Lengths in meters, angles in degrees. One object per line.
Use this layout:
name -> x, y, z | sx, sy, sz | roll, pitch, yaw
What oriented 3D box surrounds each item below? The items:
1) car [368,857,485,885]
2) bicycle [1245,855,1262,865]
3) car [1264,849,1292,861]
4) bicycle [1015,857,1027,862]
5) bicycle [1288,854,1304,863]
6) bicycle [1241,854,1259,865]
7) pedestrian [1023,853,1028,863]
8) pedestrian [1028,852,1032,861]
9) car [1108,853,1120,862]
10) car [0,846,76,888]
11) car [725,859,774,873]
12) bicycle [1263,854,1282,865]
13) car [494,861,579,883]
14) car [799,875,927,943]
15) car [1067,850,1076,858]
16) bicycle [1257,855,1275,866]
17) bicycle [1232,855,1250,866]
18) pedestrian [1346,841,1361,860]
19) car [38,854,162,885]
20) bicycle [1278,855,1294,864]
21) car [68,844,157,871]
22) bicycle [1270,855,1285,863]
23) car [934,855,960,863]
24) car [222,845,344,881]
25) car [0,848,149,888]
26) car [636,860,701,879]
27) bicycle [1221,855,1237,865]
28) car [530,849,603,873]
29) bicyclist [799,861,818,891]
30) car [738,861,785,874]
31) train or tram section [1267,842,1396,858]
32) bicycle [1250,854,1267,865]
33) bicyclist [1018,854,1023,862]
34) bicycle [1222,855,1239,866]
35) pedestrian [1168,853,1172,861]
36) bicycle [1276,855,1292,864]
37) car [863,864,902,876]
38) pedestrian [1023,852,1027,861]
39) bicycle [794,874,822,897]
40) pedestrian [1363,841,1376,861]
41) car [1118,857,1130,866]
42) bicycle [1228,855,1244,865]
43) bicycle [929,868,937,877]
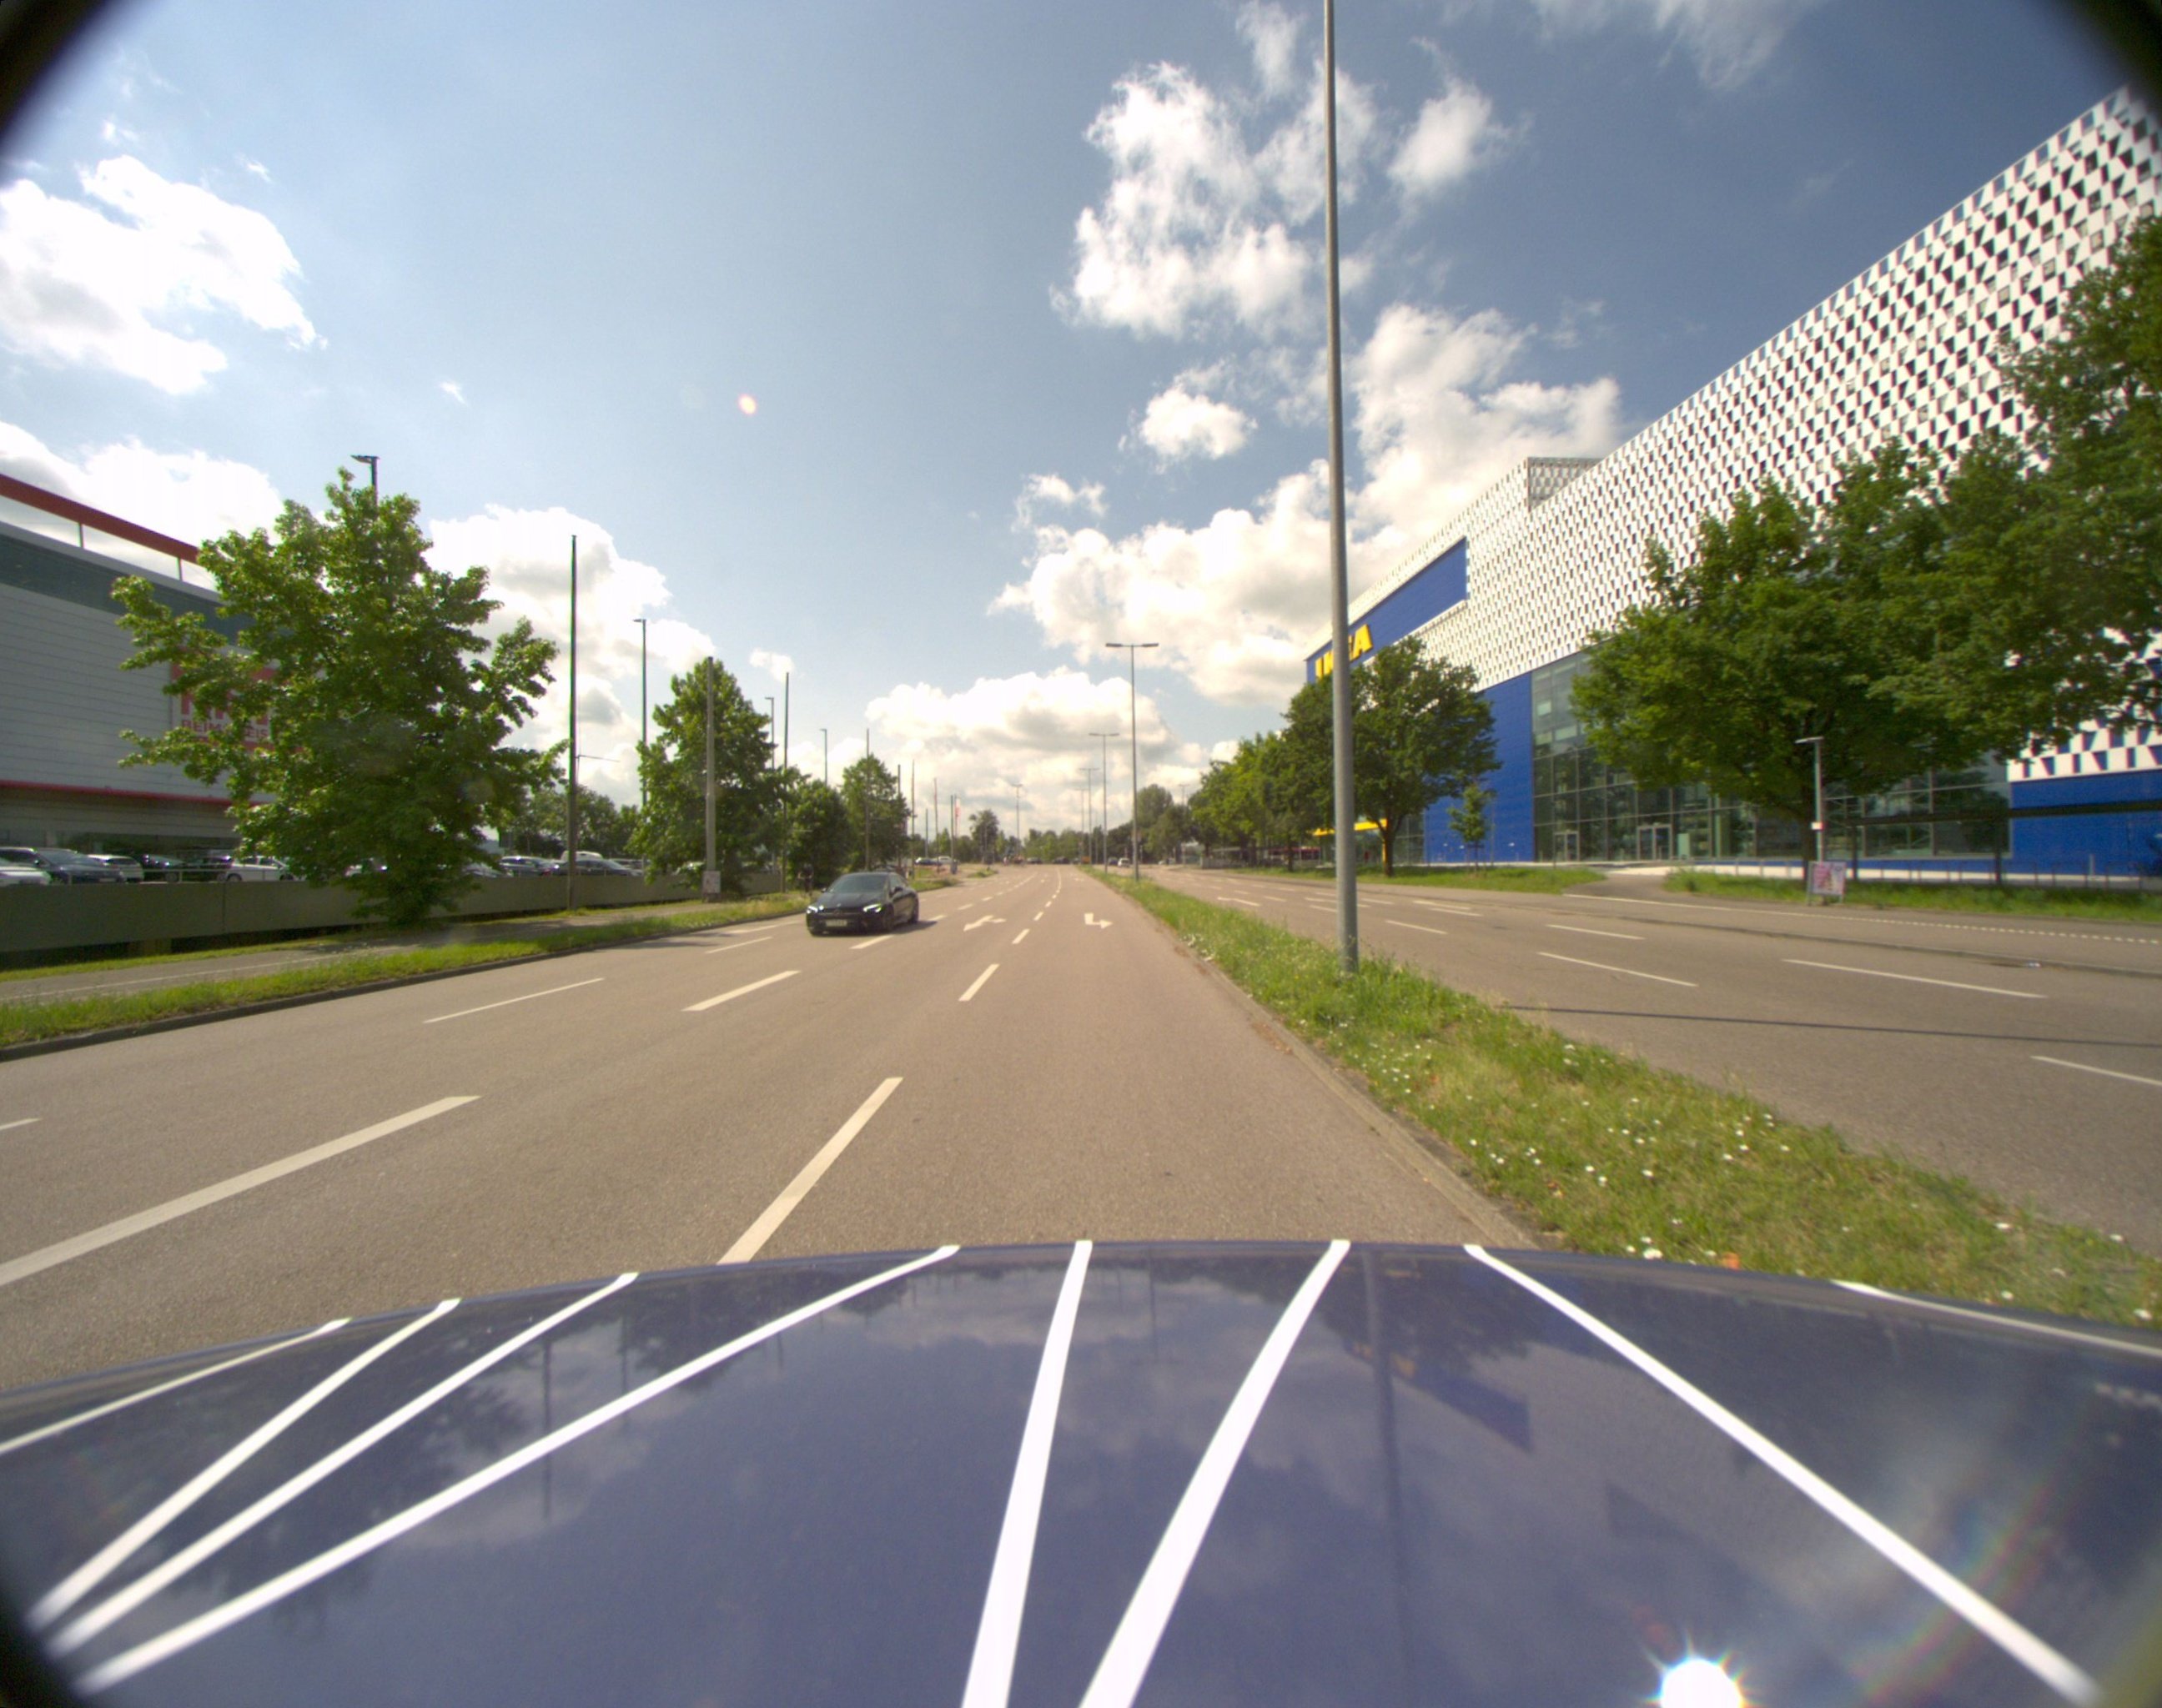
car -> -33.306, 0.874, 38.762 | 4.196, 1.381, 1.892 | 0, -1, -4
bicycle -> 21.483, 0.748, 94.620 | 1.930, 1.265, 0.629 | -1, 0, -2
car -> 37.481, 0.225, 144.477 | 4.821, 2.001, 1.999 | -1, -1, -5
bicycle -> -10.567, 0.987, 133.500 | 1.990, 0.955, 0.596 | -1, -1, -26
bicycle -> 27.701, 0.555, 97.999 | 1.940, 1.202, 0.528 | -1, 1, -6
bicycle -> 19.447, 0.664, 87.281 | 1.930, 1.176, 0.629 | -1, 0, -2
pedestrian -> -9.519, 0.714, 129.855 | 0.688, 1.718, 0.701 | 0, 2, 10
pedestrian -> -8.870, 0.506, 132.278 | 0.556, 1.515, 0.470 | -2, 0, 7
car -> 5.820, 0.603, 134.660 | 1.668, 1.413, 4.517 | 1, 0, -2
car -> -38.477, 0.434, 26.584 | 4.195, 1.425, 1.726 | 0, -1, -2
car -> -35.030, 1.296, 80.280 | 4.369, 1.354, 1.847 | -1, 0, 0
bicycle -> 21.715, 0.674, 86.317 | 1.930, 1.177, 0.629 | -1, 0, -2
car -> -34.738, 1.142, 48.555 | 4.195, 1.317, 1.688 | 0, 0, -2
car -> -5.154, 1.248, 18.596 | 1.797, 1.311, 4.163 | -2, 0, 1
car -> -1.798, 0.011, 148.596 | 1.608, 1.484, 4.131 | 1, 0, -2
bicycle -> 21.508, 0.725, 88.325 | 1.930, 1.172, 0.629 | -1, 0, -2
bicycle -> 19.410, 0.747, 92.163 | 1.930, 1.265, 0.629 | -1, 0, -2
pedestrian -> 24.835, -0.301, 69.245 | 0.952, 1.692, 0.887 | -2, 0, -2
car -> -49.240, 0.790, 38.180 | 3.998, 1.411, 1.629 | -1, -1, -2
bicycle -> 26.915, 0.735, 99.640 | 1.940, 1.064, 0.528 | -1, 1, -6
car -> -63.896, 0.242, 50.163 | 3.593, 1.642, 1.621 | -1, -1, -3
bicycle -> 26.695, 0.723, 103.393 | 1.940, 1.064, 0.528 | -1, 1, -6
car -> -24.189, 0.816, 137.095 | 4.497, 1.404, 2.012 | 0, 0, -8
car -> -40.558, 0.454, 38.693 | 3.997, 1.710, 2.000 | -1, -1, -1
car -> -39.180, 0.548, 29.219 | 4.195, 1.425, 1.893 | -2, -1, -2
car -> -33.207, 1.246, 61.251 | 4.194, 1.543, 1.764 | 0, -1, -3
bicycle -> 19.090, 0.801, 98.172 | 1.930, 1.265, 0.629 | -1, 0, -2
car -> -71.120, 0.915, 105.098 | 7.898, 3.136, 3.122 | -1, 1, 1
bicyclist -> -12.797, 1.015, 35.743 | 0.617, 1.404, 0.715 | -1, 0, -1
car -> -34.954, 1.496, 83.146 | 4.369, 1.433, 1.627 | 0, -1, 0
train or tram section -> 50.814, -0.820, 154.650 | 25.117, 3.014, 4.529 | 0, 0, -3
bicycle -> 21.560, 0.664, 92.338 | 1.930, 1.265, 0.629 | -1, 0, -2
bicyclist -> -10.588, 0.698, 133.504 | 0.688, 1.317, 0.591 | -1, 0, -26
bicycle -> 18.863, 0.822, 95.858 | 2.095, 1.265, 0.629 | -1, 0, -2
pedestrian -> 16.202, 0.524, 137.764 | 0.439, 1.481, 0.619 | -1, 1, -18
bicycle -> 26.854, 0.759, 100.686 | 1.935, 1.083, 0.520 | -1, 0, -5
car -> -25.111, 2.013, 96.102 | 4.369, 1.468, 1.857 | -2, 0, 0
pedestrian -> -9.659, 0.447, 131.576 | 0.585, 1.515, 0.469 | -2, 0, 7
bicycle -> -12.791, 1.463, 35.698 | 0.625, 1.061, 1.968 | 0, 0, -1
pedestrian -> 26.375, -0.296, 69.537 | 0.755, 1.812, 0.887 | -2, 0, -1
car -> 6.962, 1.159, 122.450 | 1.647, 1.420, 3.670 | 0, 0, 0
bicycle -> 19.281, 0.745, 94.533 | 1.930, 1.265, 0.629 | -1, 0, -2
bicycle -> -16.154, 1.983, 82.888 | 0.518, 0.947, 1.543 | -1, 1, -2
